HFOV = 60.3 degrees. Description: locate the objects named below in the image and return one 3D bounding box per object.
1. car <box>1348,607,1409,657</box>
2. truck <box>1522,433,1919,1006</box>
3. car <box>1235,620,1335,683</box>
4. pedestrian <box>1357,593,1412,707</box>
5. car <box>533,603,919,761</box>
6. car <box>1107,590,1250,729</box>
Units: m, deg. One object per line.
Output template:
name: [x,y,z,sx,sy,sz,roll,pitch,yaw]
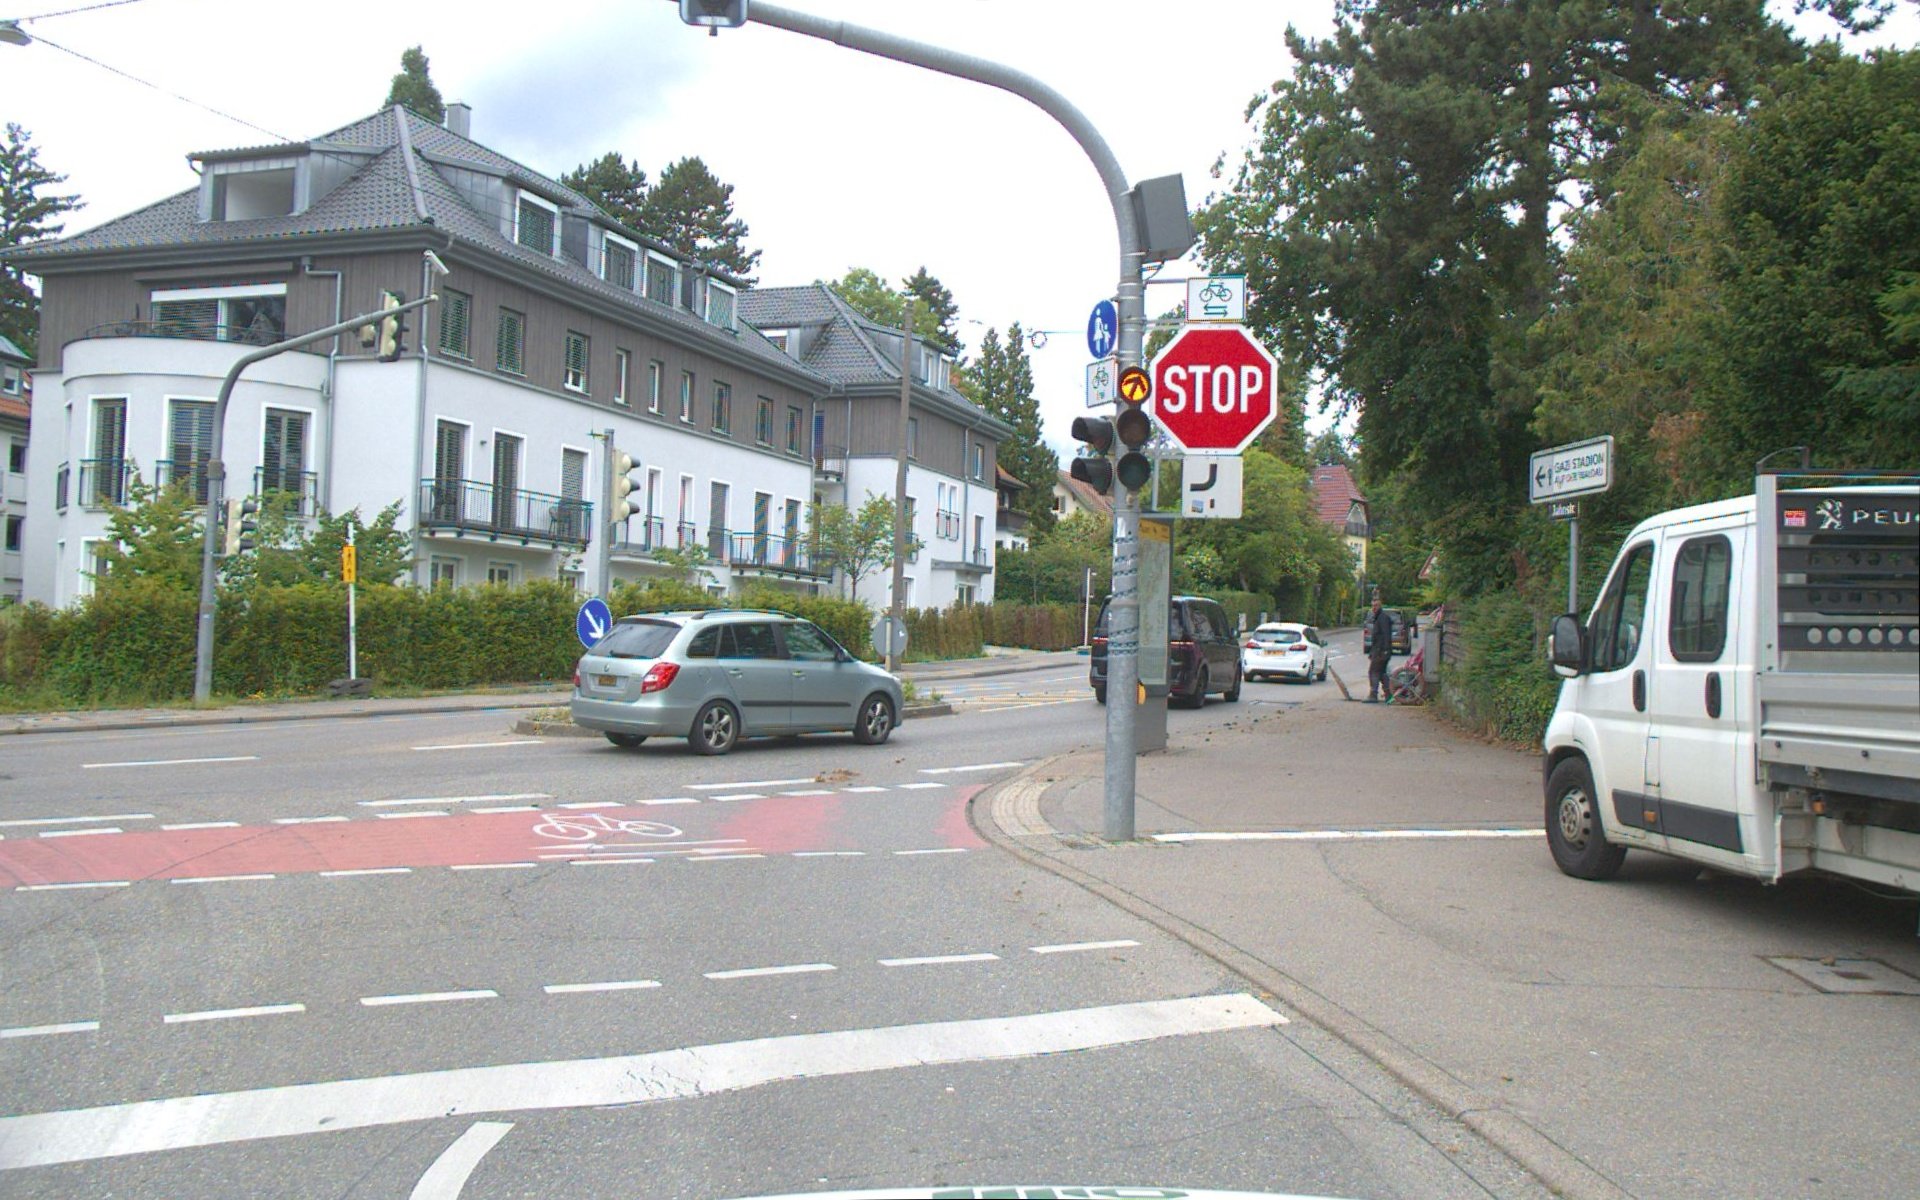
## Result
car: [18.339,1.423,72.679,1.951,2.049,4.512,1,-2,6]
truck: [4.792,0.511,7.780,2.139,2.233,5.879,2,-1,-1]
car: [8.293,1.261,41.918,1.890,1.407,4.001,1,1,20]
pedestrian: [7.722,0.898,30.116,0.821,2.049,0.589,1,0,-2]
car: [-2.455,0.821,18.253,1.681,1.502,4.173,1,0,40]
car: [3.985,0.949,29.459,1.951,2.048,4.785,4,2,13]
